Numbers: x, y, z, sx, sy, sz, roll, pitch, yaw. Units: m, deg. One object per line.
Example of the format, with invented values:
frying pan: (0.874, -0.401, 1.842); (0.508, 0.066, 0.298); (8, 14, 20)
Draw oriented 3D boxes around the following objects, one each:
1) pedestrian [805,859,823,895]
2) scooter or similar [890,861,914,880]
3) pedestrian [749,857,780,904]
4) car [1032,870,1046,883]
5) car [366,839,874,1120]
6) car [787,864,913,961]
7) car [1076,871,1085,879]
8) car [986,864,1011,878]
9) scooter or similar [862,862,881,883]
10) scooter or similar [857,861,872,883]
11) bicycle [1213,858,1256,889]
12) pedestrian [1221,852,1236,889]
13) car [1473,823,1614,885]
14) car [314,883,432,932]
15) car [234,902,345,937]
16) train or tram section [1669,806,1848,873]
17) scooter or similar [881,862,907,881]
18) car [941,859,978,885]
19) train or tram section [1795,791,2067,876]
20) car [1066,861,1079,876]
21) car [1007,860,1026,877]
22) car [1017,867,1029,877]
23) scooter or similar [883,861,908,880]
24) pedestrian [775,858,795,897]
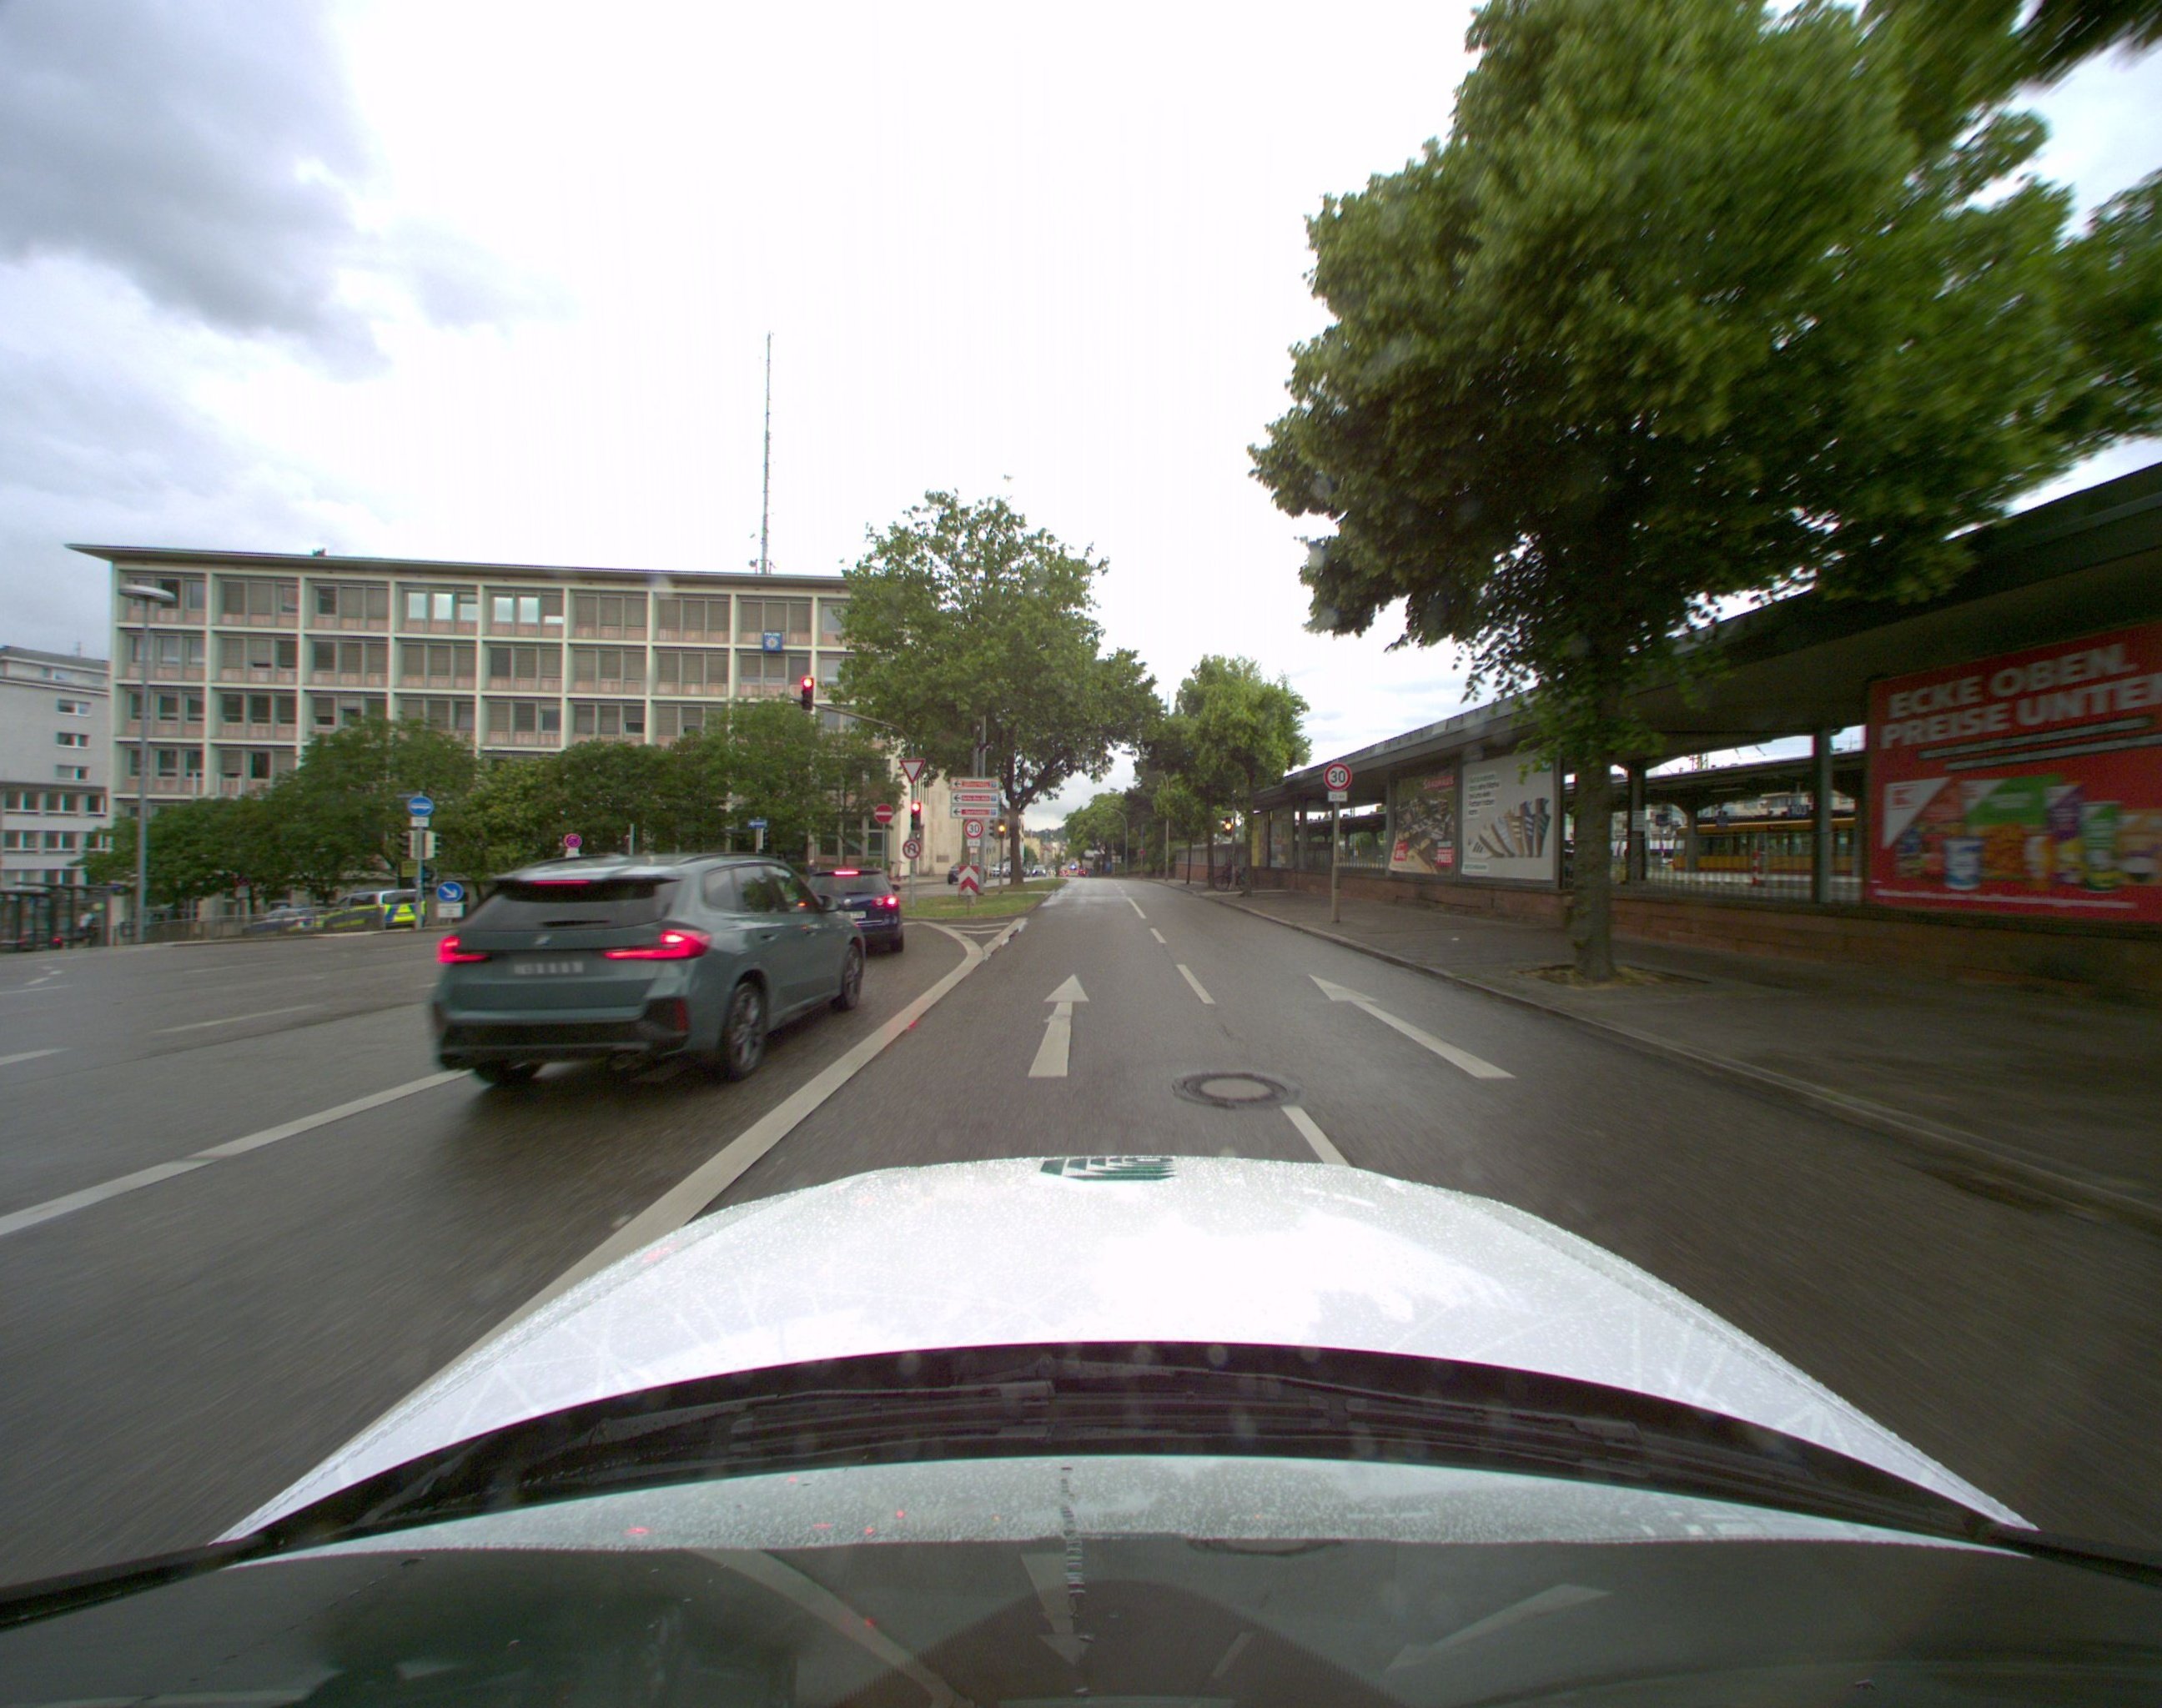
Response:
pedestrian: (-12.171, 1.044, 37.207); (0.653, 1.603, 0.921); (-1, -1, -11)
scooter or similar: (-11.762, 1.076, 53.468); (0.601, 1.164, 1.538); (-1, -1, 34)
pedestrian: (-13.743, 1.141, 35.365); (0.930, 2.045, 0.875); (-1, -1, 7)
car: (-5.500, 2.931, 107.439); (1.817, 1.660, 4.333); (-1, -1, -2)
car: (-3.308, 0.761, 7.061); (1.958, 1.640, 4.356); (-1, 0, -1)
car: (-4.061, 0.897, 14.442); (1.819, 1.409, 4.390); (-1, 0, -16)
car: (-0.165, 4.892, 189.478); (2.086, 1.911, 4.097); (-1, 0, -2)
car: (-7.751, 1.575, 77.003); (1.684, 1.297, 4.095); (1, -1, 3)
scooter or similar: (-12.038, 1.054, 46.894); (0.567, 1.192, 1.576); (-1, 0, 4)
scooter or similar: (-12.048, 0.982, 45.279); (0.487, 1.167, 1.500); (0, 0, -3)
bicycle: (6.539, 0.834, 34.810); (1.703, 1.249, 0.489); (-2, -1, 32)
pedestrian: (6.273, 0.698, 34.521); (0.452, 1.568, 0.396); (-3, -1, 32)
car: (15.013, 0.012, 26.766); (1.988, 1.871, 4.596); (0, -1, -1)
car: (-31.381, 2.373, 36.103); (4.534, 1.965, 2.010); (-3, -1, 21)
car: (-37.460, 3.102, 38.554); (4.534, 1.419, 2.010); (-2, 0, 21)
train or tram section: (37.576, -0.701, 45.735); (2.646, 3.282, 8.760); (-2, -1, -1)
scooter or similar: (-11.666, 1.091, 50.829); (0.601, 1.192, 1.538); (-1, -1, 34)
car: (-7.478, 1.085, 50.493); (1.837, 1.508, 4.098); (2, -1, -3)
train or tram section: (37.621, -0.788, 36.779); (2.646, 3.282, 9.131); (-2, -1, -1)
car: (-1.632, 2.704, 152.159); (2.258, 2.656, 3.998); (0, 0, -1)
car: (-7.616, 1.689, 96.675); (1.943, 1.944, 4.993); (1, -1, -1)
car: (-9.442, 2.976, 132.797); (1.744, 1.435, 4.479); (3, -2, -4)
scooter or similar: (-11.854, 1.077, 52.145); (0.601, 1.192, 1.538); (-1, -1, 34)
pedestrian: (-13.272, 1.049, 36.561); (0.653, 1.710, 0.795); (-1, -1, -8)
